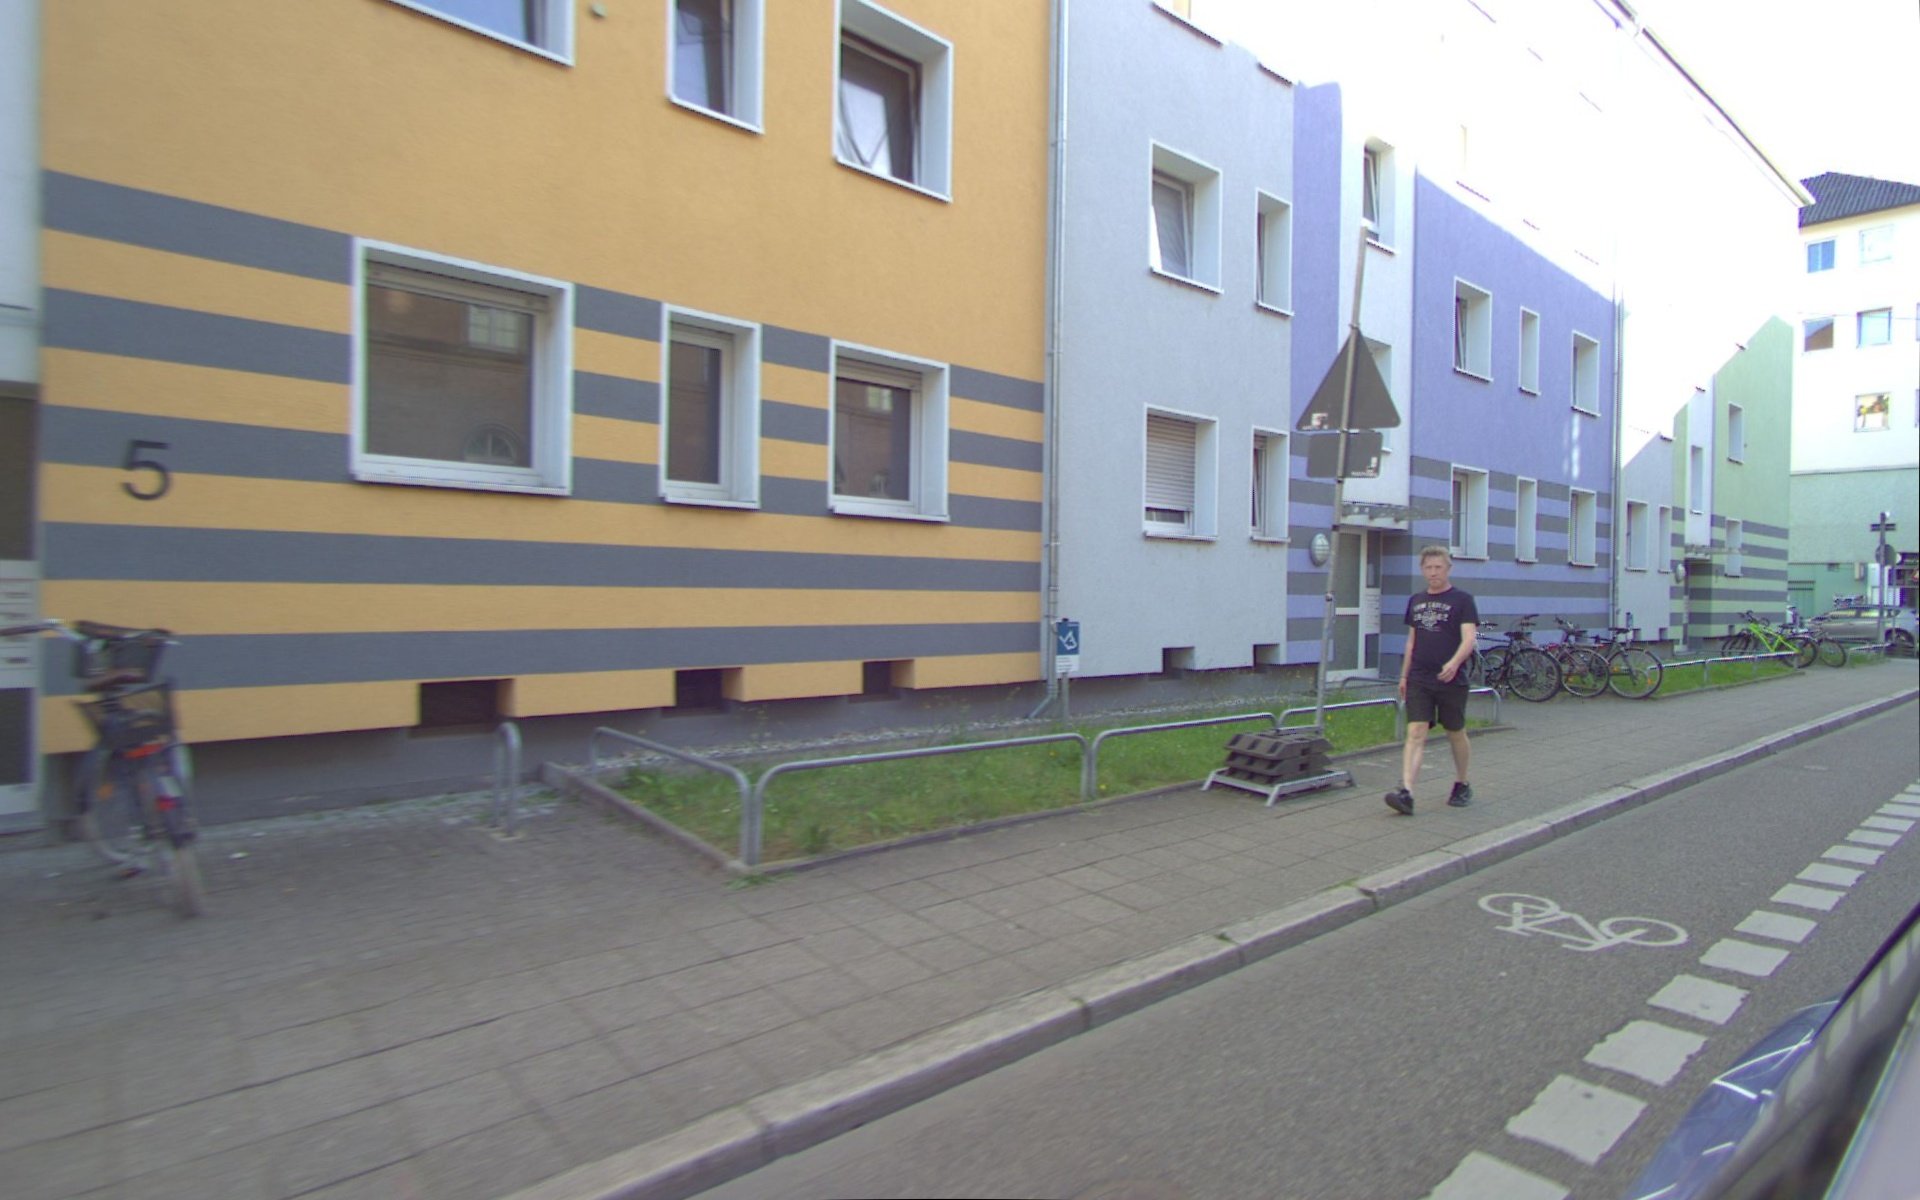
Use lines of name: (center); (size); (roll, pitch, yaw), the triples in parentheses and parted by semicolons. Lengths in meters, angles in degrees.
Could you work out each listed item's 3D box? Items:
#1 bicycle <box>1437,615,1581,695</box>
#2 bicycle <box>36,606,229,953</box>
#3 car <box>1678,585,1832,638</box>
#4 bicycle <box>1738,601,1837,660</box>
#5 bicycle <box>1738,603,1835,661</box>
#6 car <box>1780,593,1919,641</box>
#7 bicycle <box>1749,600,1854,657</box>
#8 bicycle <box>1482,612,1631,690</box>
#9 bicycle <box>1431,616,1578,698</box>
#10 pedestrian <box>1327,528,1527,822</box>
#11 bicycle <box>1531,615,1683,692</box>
bicycle: (7.563, 0.730, 14.020); (0.320, 0.958, 1.753); (0, 2, -38)
bicycle: (-3.597, 0.631, 4.394); (0.542, 1.151, 1.814); (0, 2, -40)
car: (25.310, 0.314, 32.287); (1.678, 1.500, 3.555); (0, 2, -38)
bicycle: (18.583, 0.662, 22.757); (1.641, 1.155, 0.279); (6, 4, 43)
bicycle: (18.400, 0.694, 22.553); (1.603, 1.155, 0.234); (6, 4, 43)
car: (30.809, 0.544, 34.541); (1.832, 1.500, 4.088); (0, 1, -39)
bicycle: (19.591, 0.651, 23.598); (0.542, 1.155, 1.753); (1, 3, -39)
bicycle: (8.571, 0.704, 14.608); (0.542, 0.958, 1.752); (0, 2, -39)
bicycle: (7.332, 0.746, 13.711); (0.329, 0.958, 1.752); (0, 2, -39)
pedestrian: (3.128, 0.436, 6.766); (1.167, 1.781, 0.698); (0, 3, -39)
bicycle: (9.325, 0.742, 14.646); (0.542, 0.958, 1.752); (0, 2, -39)
